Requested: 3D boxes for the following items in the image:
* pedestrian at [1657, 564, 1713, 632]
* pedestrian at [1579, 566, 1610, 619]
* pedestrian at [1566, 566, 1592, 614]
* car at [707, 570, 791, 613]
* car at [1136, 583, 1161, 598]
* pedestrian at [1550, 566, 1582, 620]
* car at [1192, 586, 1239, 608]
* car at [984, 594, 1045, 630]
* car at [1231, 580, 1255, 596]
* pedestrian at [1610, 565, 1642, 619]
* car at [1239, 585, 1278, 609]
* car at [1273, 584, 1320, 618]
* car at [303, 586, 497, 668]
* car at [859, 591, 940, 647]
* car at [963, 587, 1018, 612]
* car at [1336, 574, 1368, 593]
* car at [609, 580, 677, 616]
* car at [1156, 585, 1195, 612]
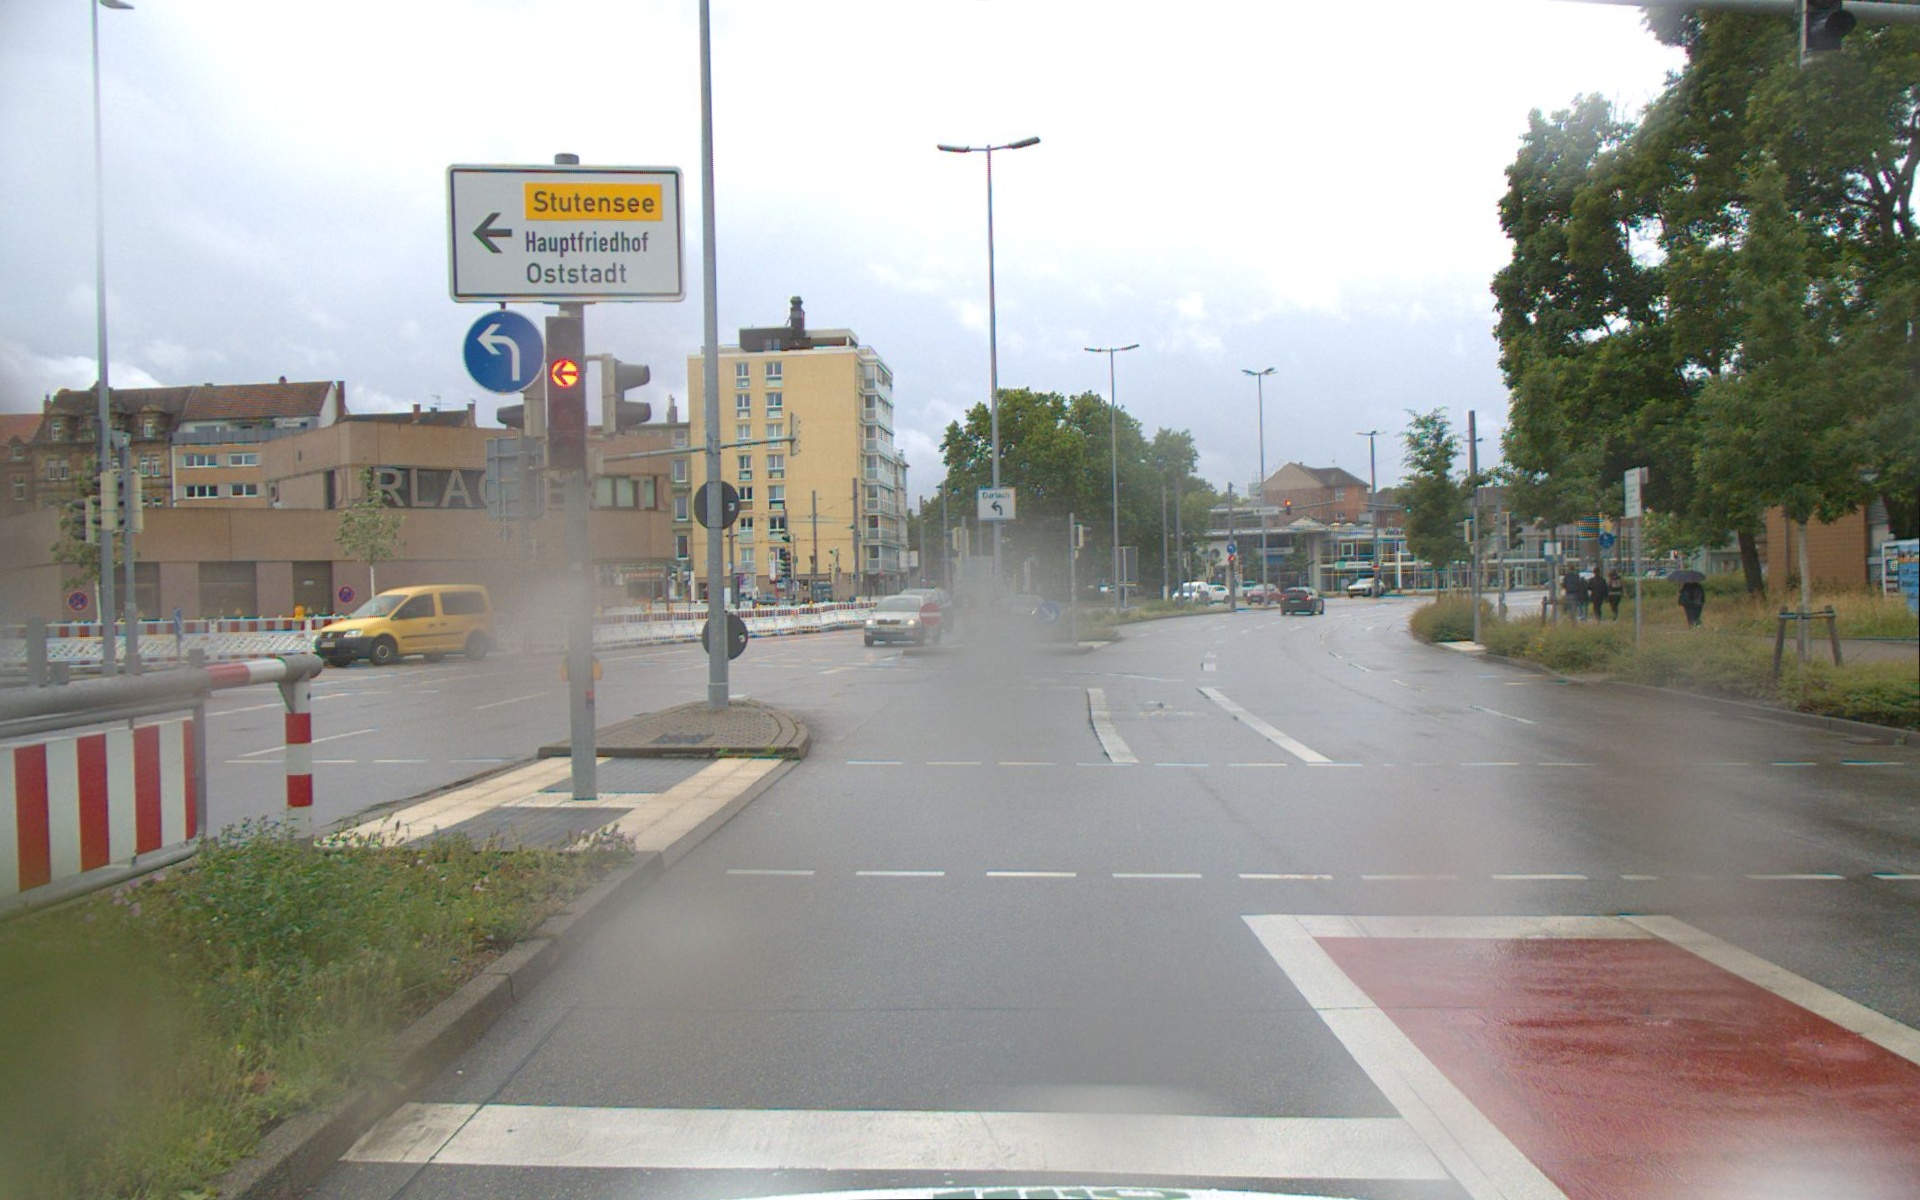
[{"bbox_3d":[17.579,-0.055,40.115,1.000,1.615,0.937,-1,0,9],"label":"pedestrian"},{"bbox_3d":[19.467,-0.235,50.751,0.688,1.615,0.937,-1,0,9],"label":"pedestrian"},{"bbox_3d":[21.542,-0.355,57.585,0.688,1.615,0.937,-1,0,11],"label":"pedestrian"},{"bbox_3d":[-17.987,-0.742,141.189,6.601,3.439,2.810,-2,0,2],"label":"car"},{"bbox_3d":[21.774,-1.076,191.136,1.753,1.672,4.159,-1,0,23],"label":"car"},{"bbox_3d":[18.784,-0.218,51.269,0.737,1.615,0.937,-1,0,9],"label":"pedestrian"},{"bbox_3d":[21.418,-0.260,138.549,1.765,1.672,4.367,-1,1,44],"label":"car"},{"bbox_3d":[2.313,0.475,69.351,1.734,1.400,4.124,-1,0,13],"label":"car"},{"bbox_3d":[31.972,-1.341,186.988,1.753,1.672,4.159,-1,0,23],"label":"car"},{"bbox_3d":[20.374,-0.260,50.575,0.688,1.615,0.937,-1,0,9],"label":"pedestrian"},{"bbox_3d":[22.301,-0.253,123.451,1.755,1.672,4.043,-1,0,26],"label":"car"},{"bbox_3d":[17.743,0.056,87.083,1.753,1.672,4.160,-1,0,21],"label":"car"},{"bbox_3d":[-12.971,0.595,38.516,1.674,1.735,4.143,-1,0,32],"label":"car"},{"bbox_3d":[-1.748,0.531,49.082,1.658,1.440,4.187,-2,1,8],"label":"car"},{"bbox_3d":[2.455,-0.015,132.582,4.093,1.890,1.782,-2,0,-25],"label":"car"},{"bbox_3d":[35.921,-1.542,151.518,1.756,1.672,4.153,-1,0,28],"label":"car"},{"bbox_3d":[-27.168,-0.185,141.683,5.239,2.937,2.340,-2,0,2],"label":"car"},{"bbox_3d":[15.559,-0.117,119.163,1.753,1.890,4.159,-1,0,22],"label":"car"}]
